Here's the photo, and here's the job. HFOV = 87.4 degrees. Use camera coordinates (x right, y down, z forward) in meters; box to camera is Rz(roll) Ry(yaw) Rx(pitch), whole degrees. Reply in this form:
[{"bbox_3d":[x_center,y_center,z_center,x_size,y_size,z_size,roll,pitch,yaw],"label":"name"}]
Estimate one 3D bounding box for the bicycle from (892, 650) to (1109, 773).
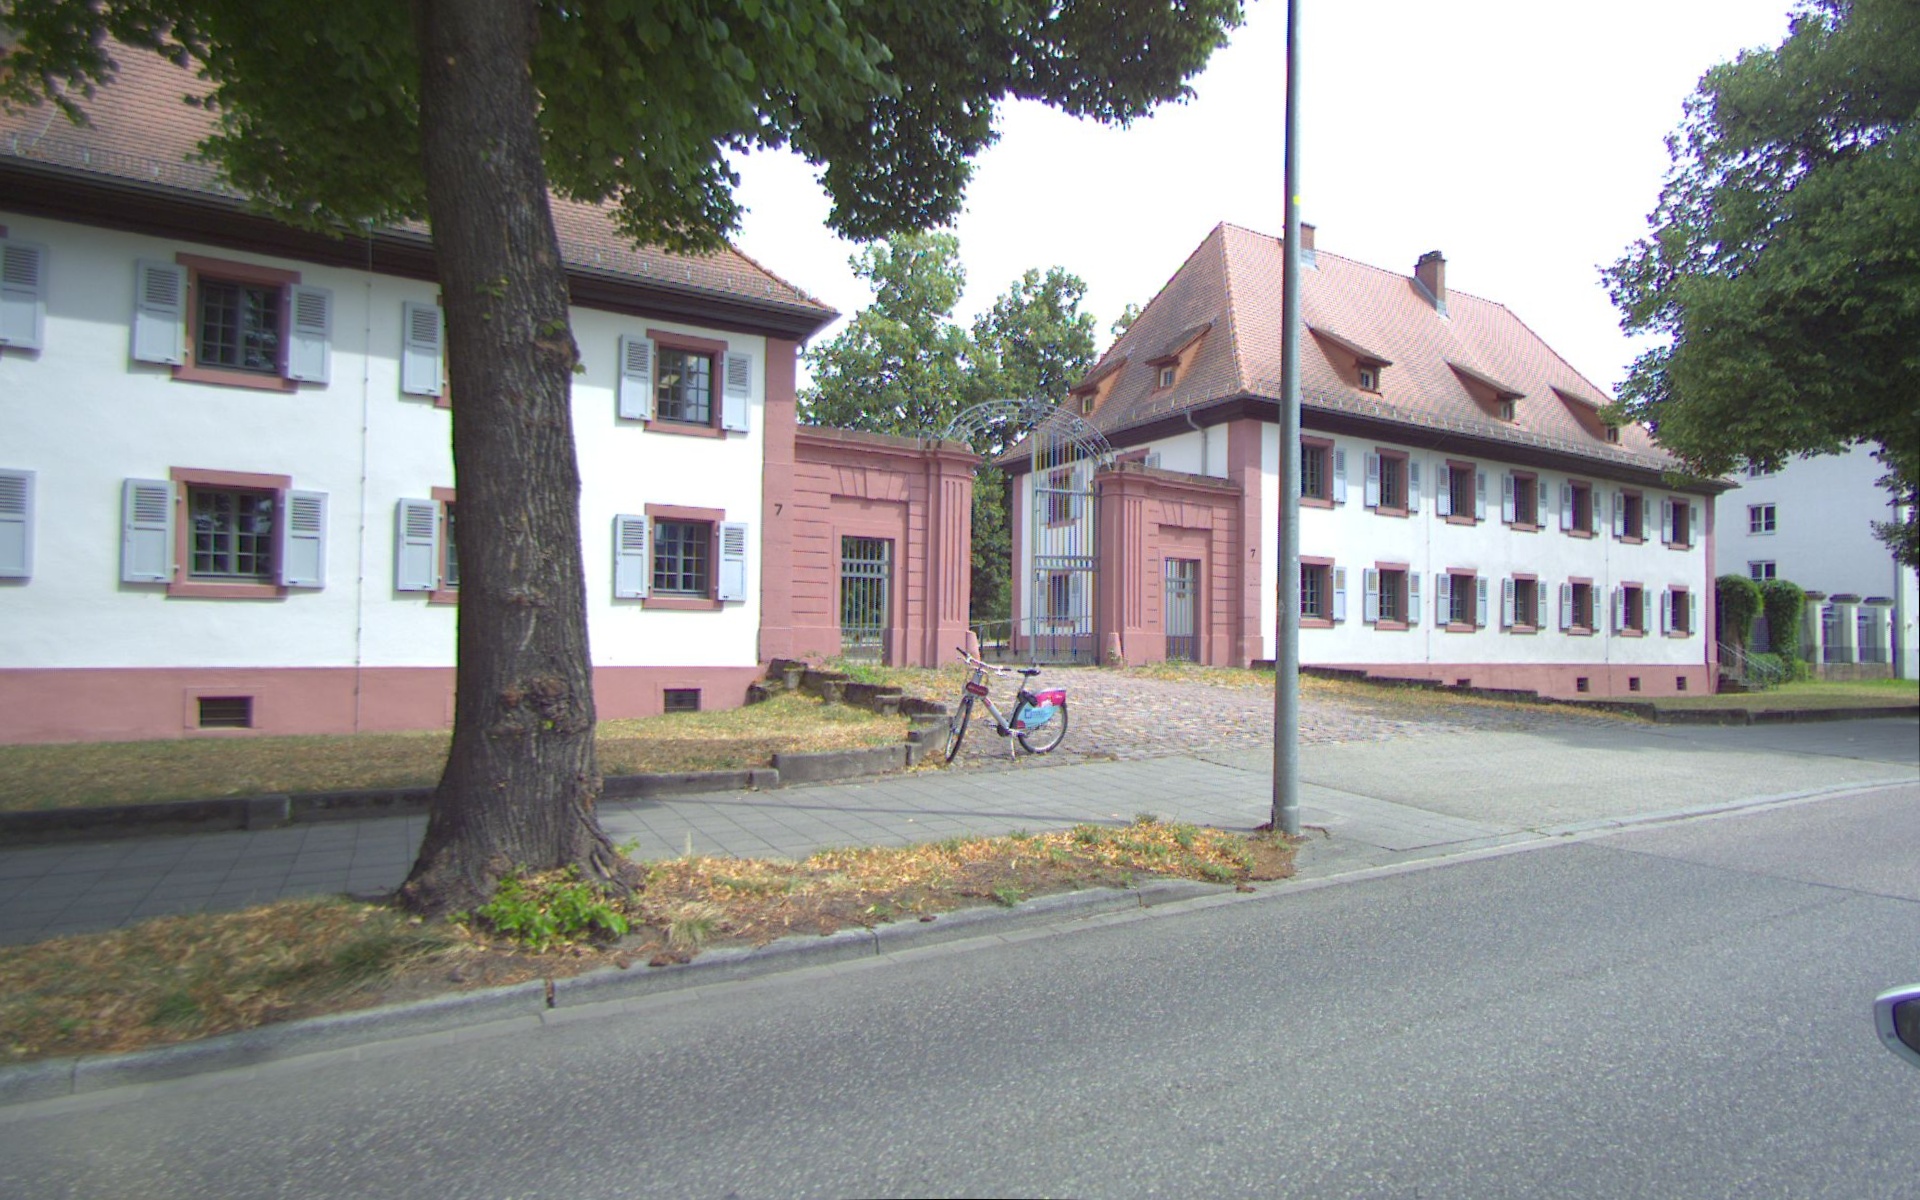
[{"bbox_3d":[0.448,1.113,10.500,2.199,1.110,0.719,1,2,-30],"label":"bicycle"}]
